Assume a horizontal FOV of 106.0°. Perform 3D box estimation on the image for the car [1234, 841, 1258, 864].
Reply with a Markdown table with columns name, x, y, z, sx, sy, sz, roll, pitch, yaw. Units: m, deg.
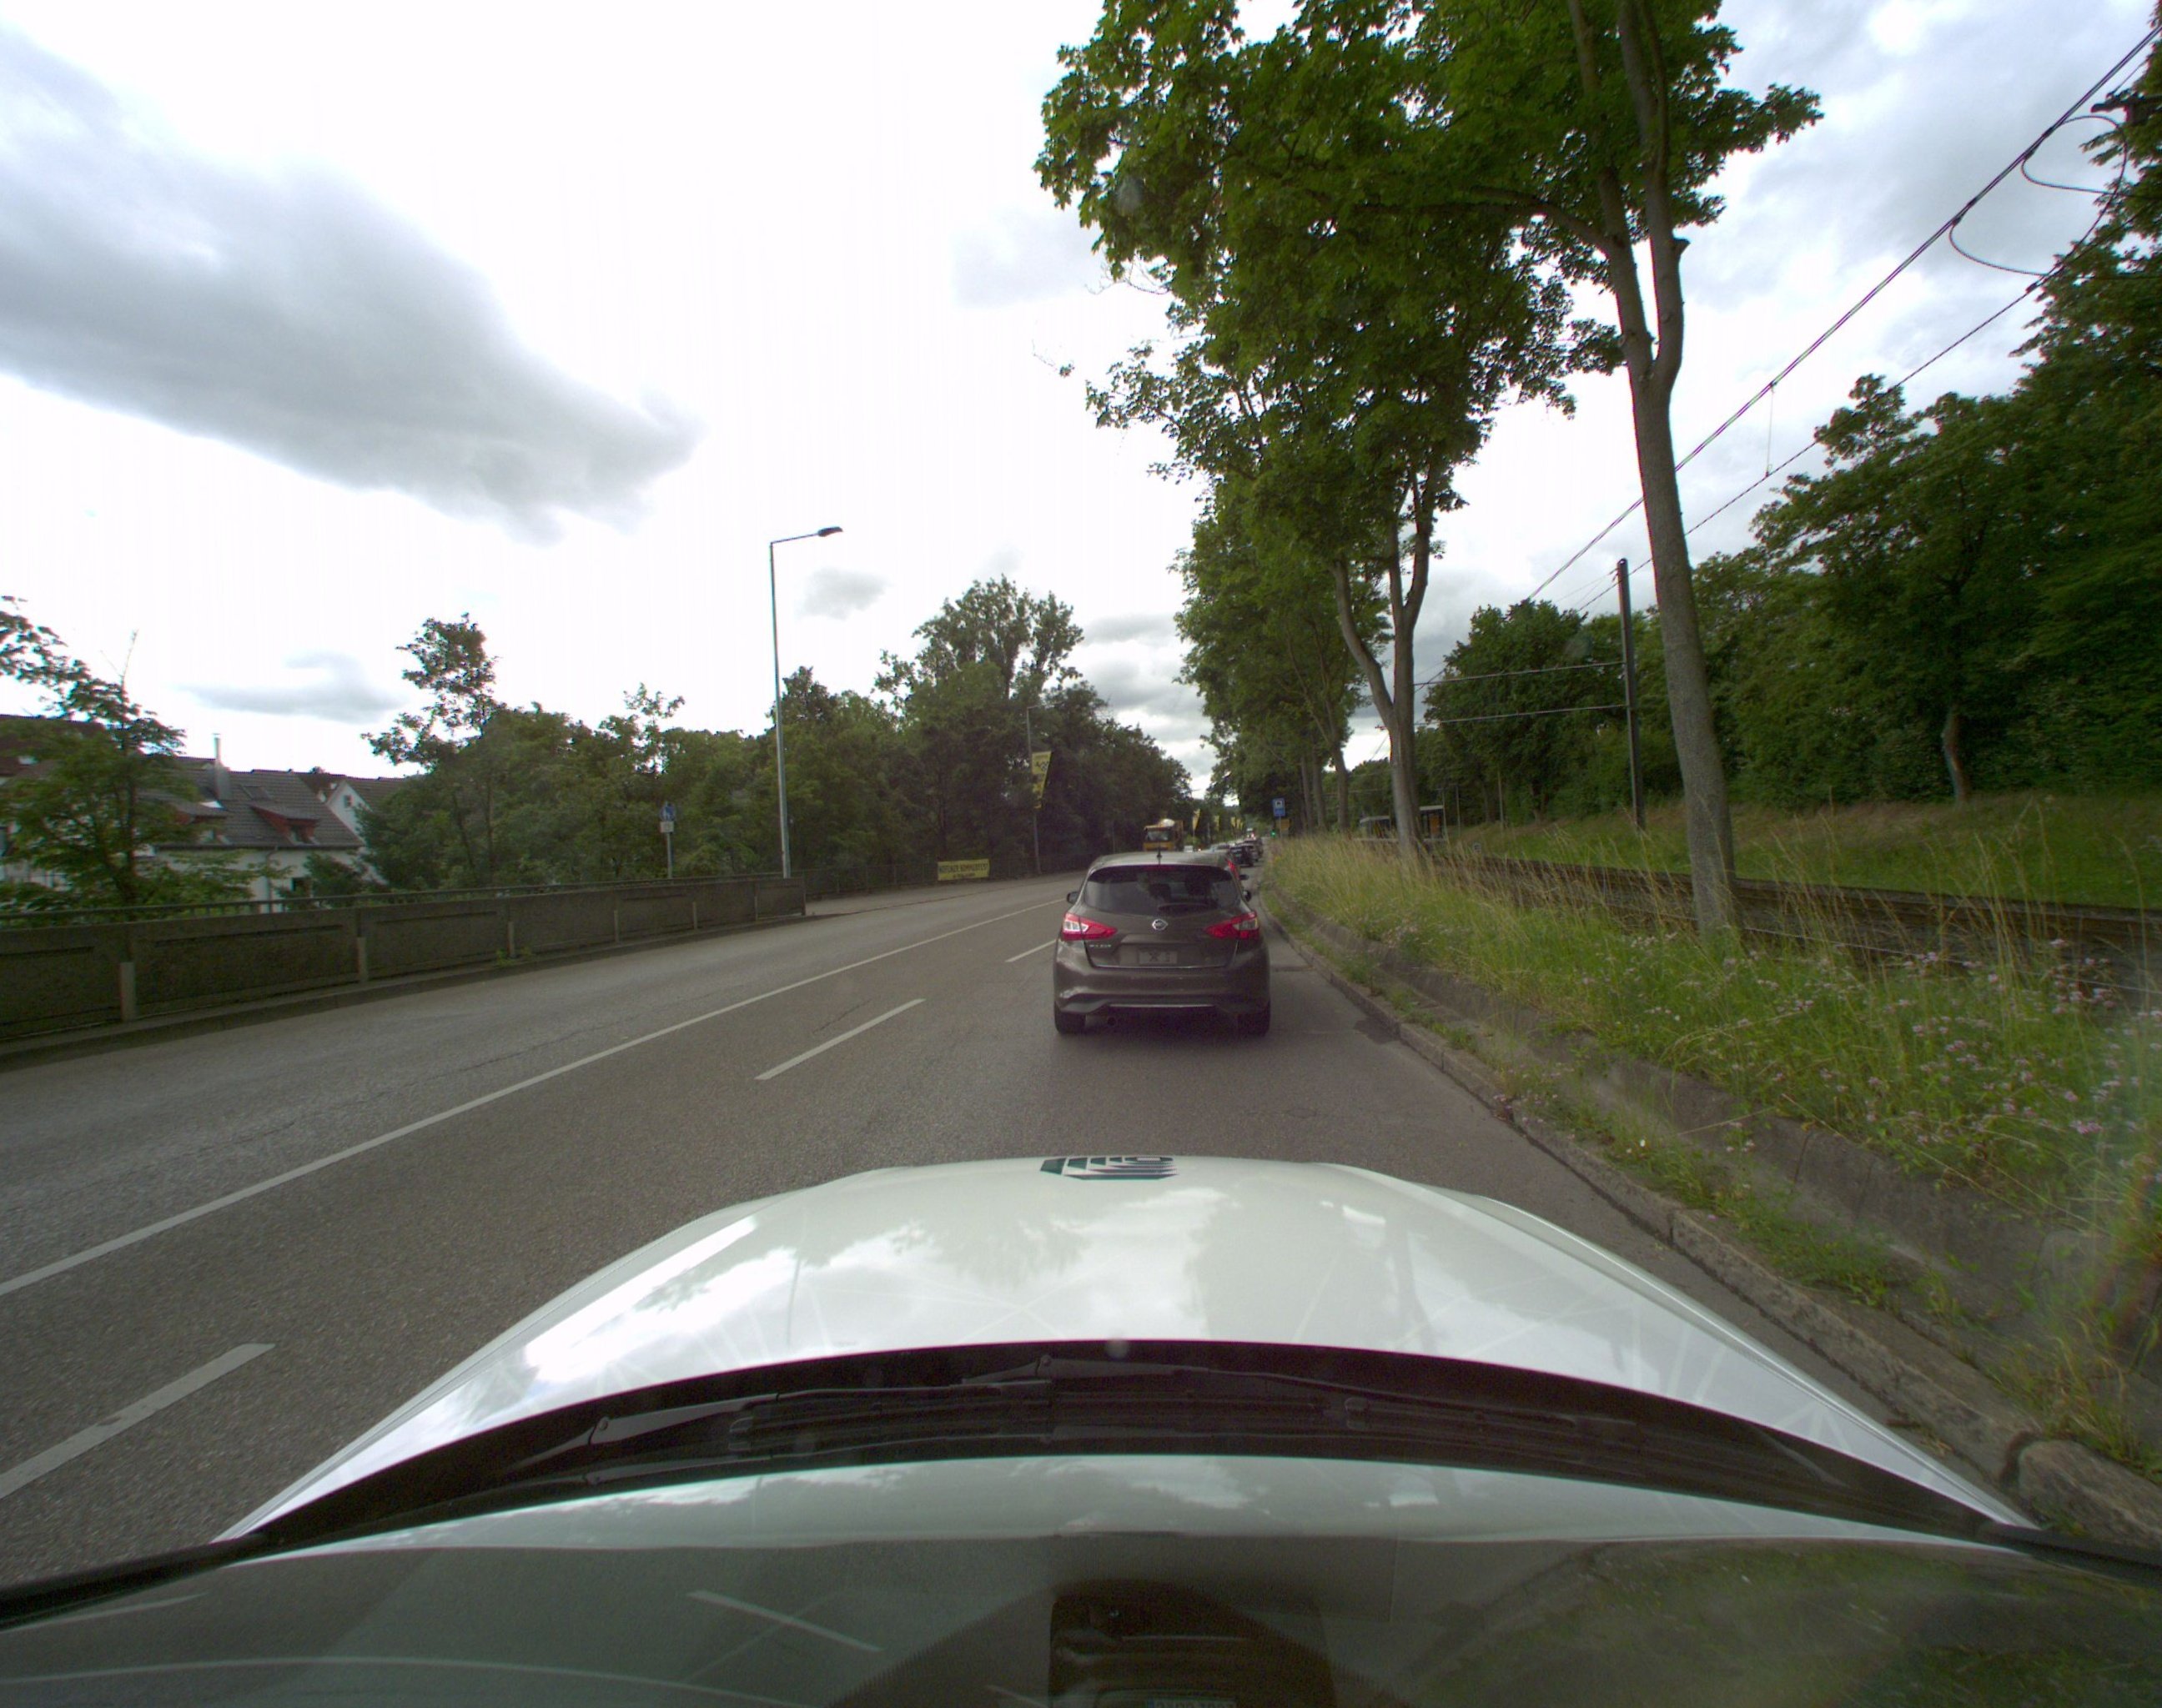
| name | x | y | z | sx | sy | sz | roll | pitch | yaw |
| --- | --- | --- | --- | --- | --- | --- | --- | --- | --- |
| car | 13.372 | -0.078 | 65.813 | 1.707 | 1.693 | 4.013 | -3 | -2 | 12 |

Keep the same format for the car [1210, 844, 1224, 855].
| name | x | y | z | sx | sy | sz | roll | pitch | yaw |
| --- | --- | --- | --- | --- | --- | --- | --- | --- | --- |
| car | 20.295 | -0.658 | 121.379 | 1.709 | 1.442 | 4.013 | -3 | -2 | 12 |

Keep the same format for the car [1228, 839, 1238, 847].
| name | x | y | z | sx | sy | sz | roll | pitch | yaw |
| --- | --- | --- | --- | --- | --- | --- | --- | --- | --- |
| car | 30.071 | -2.170 | 160.565 | 1.740 | 1.420 | 4.013 | -3 | -2 | 12 |

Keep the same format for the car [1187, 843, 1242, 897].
| name | x | y | z | sx | sy | sz | roll | pitch | yaw |
| --- | --- | --- | --- | --- | --- | --- | --- | --- | --- |
| car | 4.376 | 0.495 | 26.648 | 1.568 | 1.538 | 4.010 | -3 | -1 | 9 |

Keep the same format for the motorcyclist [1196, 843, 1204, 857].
| name | x | y | z | sx | sy | sz | roll | pitch | yaw |
| --- | --- | --- | --- | --- | --- | --- | --- | --- | --- |
| motorcyclist | 13.720 | -0.433 | 93.670 | 0.739 | 1.539 | 0.794 | -2 | 0 | 14 |

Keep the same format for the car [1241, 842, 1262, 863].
| name | x | y | z | sx | sy | sz | roll | pitch | yaw |
| --- | --- | --- | --- | --- | --- | --- | --- | --- | --- |
| car | 17.058 | -0.188 | 81.342 | 1.877 | 2.013 | 4.015 | -2 | 0 | 14 |

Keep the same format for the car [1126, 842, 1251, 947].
| name | x | y | z | sx | sy | sz | roll | pitch | yaw |
| --- | --- | --- | --- | --- | --- | --- | --- | --- | --- |
| car | 1.880 | 0.663 | 14.643 | 1.883 | 1.574 | 4.007 | -2 | -1 | 6 |

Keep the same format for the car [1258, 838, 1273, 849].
| name | x | y | z | sx | sy | sz | roll | pitch | yaw |
| --- | --- | --- | --- | --- | --- | --- | --- | --- | --- |
| car | 25.993 | -1.469 | 114.559 | 1.877 | 1.445 | 3.821 | -2 | 0 | 13 |

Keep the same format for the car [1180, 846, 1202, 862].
| name | x | y | z | sx | sy | sz | roll | pitch | yaw |
| --- | --- | --- | --- | --- | --- | --- | --- | --- | --- |
| car | 10.700 | 0.014 | 79.180 | 1.755 | 1.479 | 4.014 | -2 | 0 | 12 |

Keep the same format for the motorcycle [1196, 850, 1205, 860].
| name | x | y | z | sx | sy | sz | roll | pitch | yaw |
| --- | --- | --- | --- | --- | --- | --- | --- | --- | --- |
| motorcycle | 13.759 | 0.099 | 93.749 | 0.739 | 1.033 | 1.895 | -2 | 0 | 14 |

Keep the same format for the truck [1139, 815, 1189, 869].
| name | x | y | z | sx | sy | sz | roll | pitch | yaw |
| --- | --- | --- | --- | --- | --- | --- | --- | --- | --- |
| truck | 6.762 | -0.927 | 64.866 | 2.636 | 3.938 | 10.147 | -2 | 0 | 13 |

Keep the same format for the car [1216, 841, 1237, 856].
| name | x | y | z | sx | sy | sz | roll | pitch | yaw |
| --- | --- | --- | --- | --- | --- | --- | --- | --- | --- |
| car | 15.915 | -0.612 | 89.001 | 1.838 | 1.486 | 4.437 | -3 | -1 | 14 |

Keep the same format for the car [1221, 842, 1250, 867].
| name | x | y | z | sx | sy | sz | roll | pitch | yaw |
| --- | --- | --- | --- | --- | --- | --- | --- | --- | --- |
| car | 10.256 | 0.065 | 53.954 | 1.793 | 1.540 | 4.012 | -1 | -1 | 11 |

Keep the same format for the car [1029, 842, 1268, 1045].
| name | x | y | z | sx | sy | sz | roll | pitch | yaw |
| --- | --- | --- | --- | --- | --- | --- | --- | --- | --- |
| car | 0.753 | 0.699 | 8.096 | 1.765 | 1.494 | 4.008 | -1 | -1 | 7 |

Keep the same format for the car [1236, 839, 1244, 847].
| name | x | y | z | sx | sy | sz | roll | pitch | yaw |
| --- | --- | --- | --- | --- | --- | --- | --- | --- | --- |
| car | 37.804 | -2.617 | 193.298 | 1.707 | 1.693 | 3.738 | -3 | -2 | 12 |
